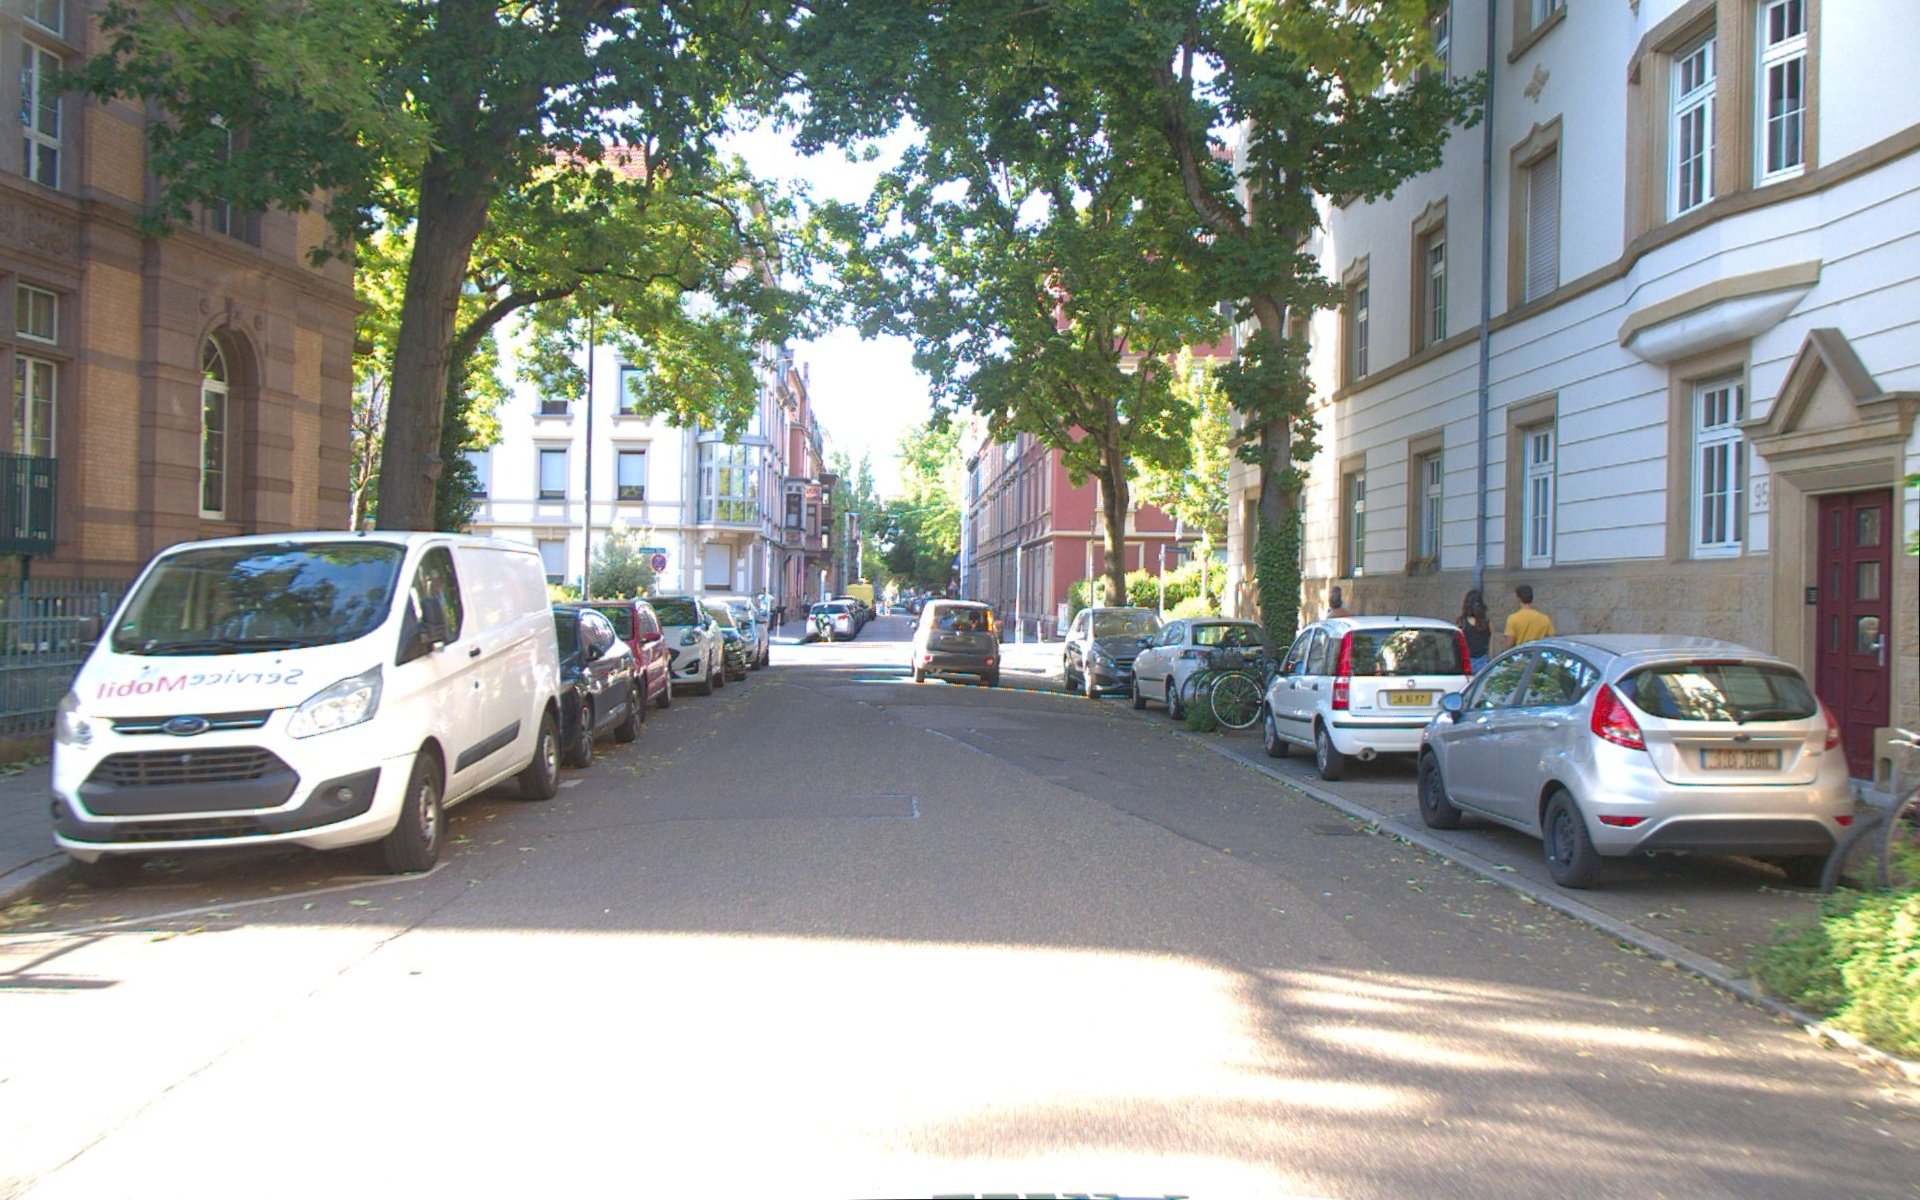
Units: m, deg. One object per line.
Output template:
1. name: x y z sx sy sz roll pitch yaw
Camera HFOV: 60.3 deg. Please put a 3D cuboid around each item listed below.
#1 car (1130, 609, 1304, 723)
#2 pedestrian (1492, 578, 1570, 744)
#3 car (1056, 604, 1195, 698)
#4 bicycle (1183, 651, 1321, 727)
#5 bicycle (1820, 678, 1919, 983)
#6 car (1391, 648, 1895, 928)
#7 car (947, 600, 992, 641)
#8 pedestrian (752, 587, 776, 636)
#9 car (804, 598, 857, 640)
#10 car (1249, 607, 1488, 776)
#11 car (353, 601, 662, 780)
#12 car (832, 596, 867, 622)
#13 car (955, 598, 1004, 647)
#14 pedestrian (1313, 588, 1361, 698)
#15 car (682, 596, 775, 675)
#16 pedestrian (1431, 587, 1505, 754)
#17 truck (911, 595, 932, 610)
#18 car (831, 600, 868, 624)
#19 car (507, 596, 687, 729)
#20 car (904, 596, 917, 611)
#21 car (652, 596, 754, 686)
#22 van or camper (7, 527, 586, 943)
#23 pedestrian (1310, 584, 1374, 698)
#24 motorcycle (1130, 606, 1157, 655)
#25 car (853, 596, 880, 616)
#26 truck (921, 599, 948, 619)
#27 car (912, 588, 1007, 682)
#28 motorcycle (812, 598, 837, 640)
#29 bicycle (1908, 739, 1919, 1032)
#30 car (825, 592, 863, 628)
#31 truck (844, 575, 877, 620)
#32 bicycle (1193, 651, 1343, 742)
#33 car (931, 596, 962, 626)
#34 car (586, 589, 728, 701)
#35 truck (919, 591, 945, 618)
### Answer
1. car: 3.714 0.913 24.541 1.580 1.504 3.865 1 0 -6
2. pedestrian: 6.103 0.642 17.697 0.583 1.731 0.688 1 0 -1
3. car: 2.986 0.885 30.712 1.754 1.578 4.405 1 0 -5
4. bicycle: 3.853 1.172 21.896 1.681 0.966 0.733 0 0 -2
5. bicycle: 5.020 0.984 7.418 1.929 1.251 0.760 -1 0 -2
6. car: 4.327 1.102 11.232 1.589 1.418 4.155 0 0 -2
7. car: 0.353 0.794 65.787 1.629 1.531 3.756 2 0 -1
8. pedestrian: -7.568 0.437 63.848 0.707 1.871 0.627 2 0 9
9. car: -4.931 0.705 63.515 1.760 1.457 3.924 -2 0 -1
10. car: 4.114 0.862 17.160 1.489 1.537 3.542 1 0 -2
11. car: -4.312 0.777 16.568 1.960 1.483 4.604 -1 0 -2
12. car: -6.764 0.527 101.962 1.922 1.505 3.924 -2 0 -1
13. car: 0.694 0.793 61.305 1.629 1.698 3.756 2 0 -1
14. pedestrian: 6.093 0.692 26.743 0.480 1.735 0.757 -3 0 -3
15. car: -5.098 0.736 36.790 1.663 1.578 3.917 -2 0 -3
16. pedestrian: 5.507 0.741 17.959 0.509 1.765 0.878 1 0 -1
17. truck: -3.860 0.242 164.132 1.953 1.482 3.998 1 0 -2
18. car: -6.285 0.688 94.325 1.922 1.246 3.924 -2 0 -1
19. car: -4.603 0.732 21.460 1.570 1.485 4.025 -2 0 -3
20. car: -5.483 0.379 183.682 1.340 1.646 3.412 1 0 -1
21. car: -4.875 0.719 31.696 1.713 1.500 4.456 -3 1 -8
22. van or camper: -3.952 0.671 11.065 1.883 2.014 5.458 -2 0 -3
23. pedestrian: 5.955 0.628 25.843 0.762 1.724 0.874 2 0 0
24. motorcycle: 5.804 0.943 52.351 0.809 1.429 2.558 1 2 6
25. car: -7.393 0.469 131.324 1.922 1.505 3.924 -2 0 -1
26. truck: -1.954 0.673 124.620 1.953 1.482 3.998 1 0 -2
27. car: -0.051 0.621 31.594 1.600 1.577 3.263 3 1 -3
28. motorcycle: -4.936 0.688 60.216 0.684 1.486 1.746 0 0 -12
29. bicycle: 4.548 1.054 5.955 1.929 1.092 0.599 -1 0 -2
30. car: -5.939 0.472 85.046 1.739 1.728 3.924 -2 0 -1
31. truck: -6.973 -0.171 116.071 2.029 2.977 5.066 -3 0 -2
32. bicycle: 3.838 1.198 20.672 1.734 1.057 0.606 2 0 -2
33. car: -0.762 0.578 90.429 1.629 1.531 3.756 2 0 -1
34. car: -4.816 0.664 26.791 1.789 1.581 4.129 -3 0 -5
35. truck: -2.206 0.329 129.993 1.953 2.027 3.998 1 0 -2
